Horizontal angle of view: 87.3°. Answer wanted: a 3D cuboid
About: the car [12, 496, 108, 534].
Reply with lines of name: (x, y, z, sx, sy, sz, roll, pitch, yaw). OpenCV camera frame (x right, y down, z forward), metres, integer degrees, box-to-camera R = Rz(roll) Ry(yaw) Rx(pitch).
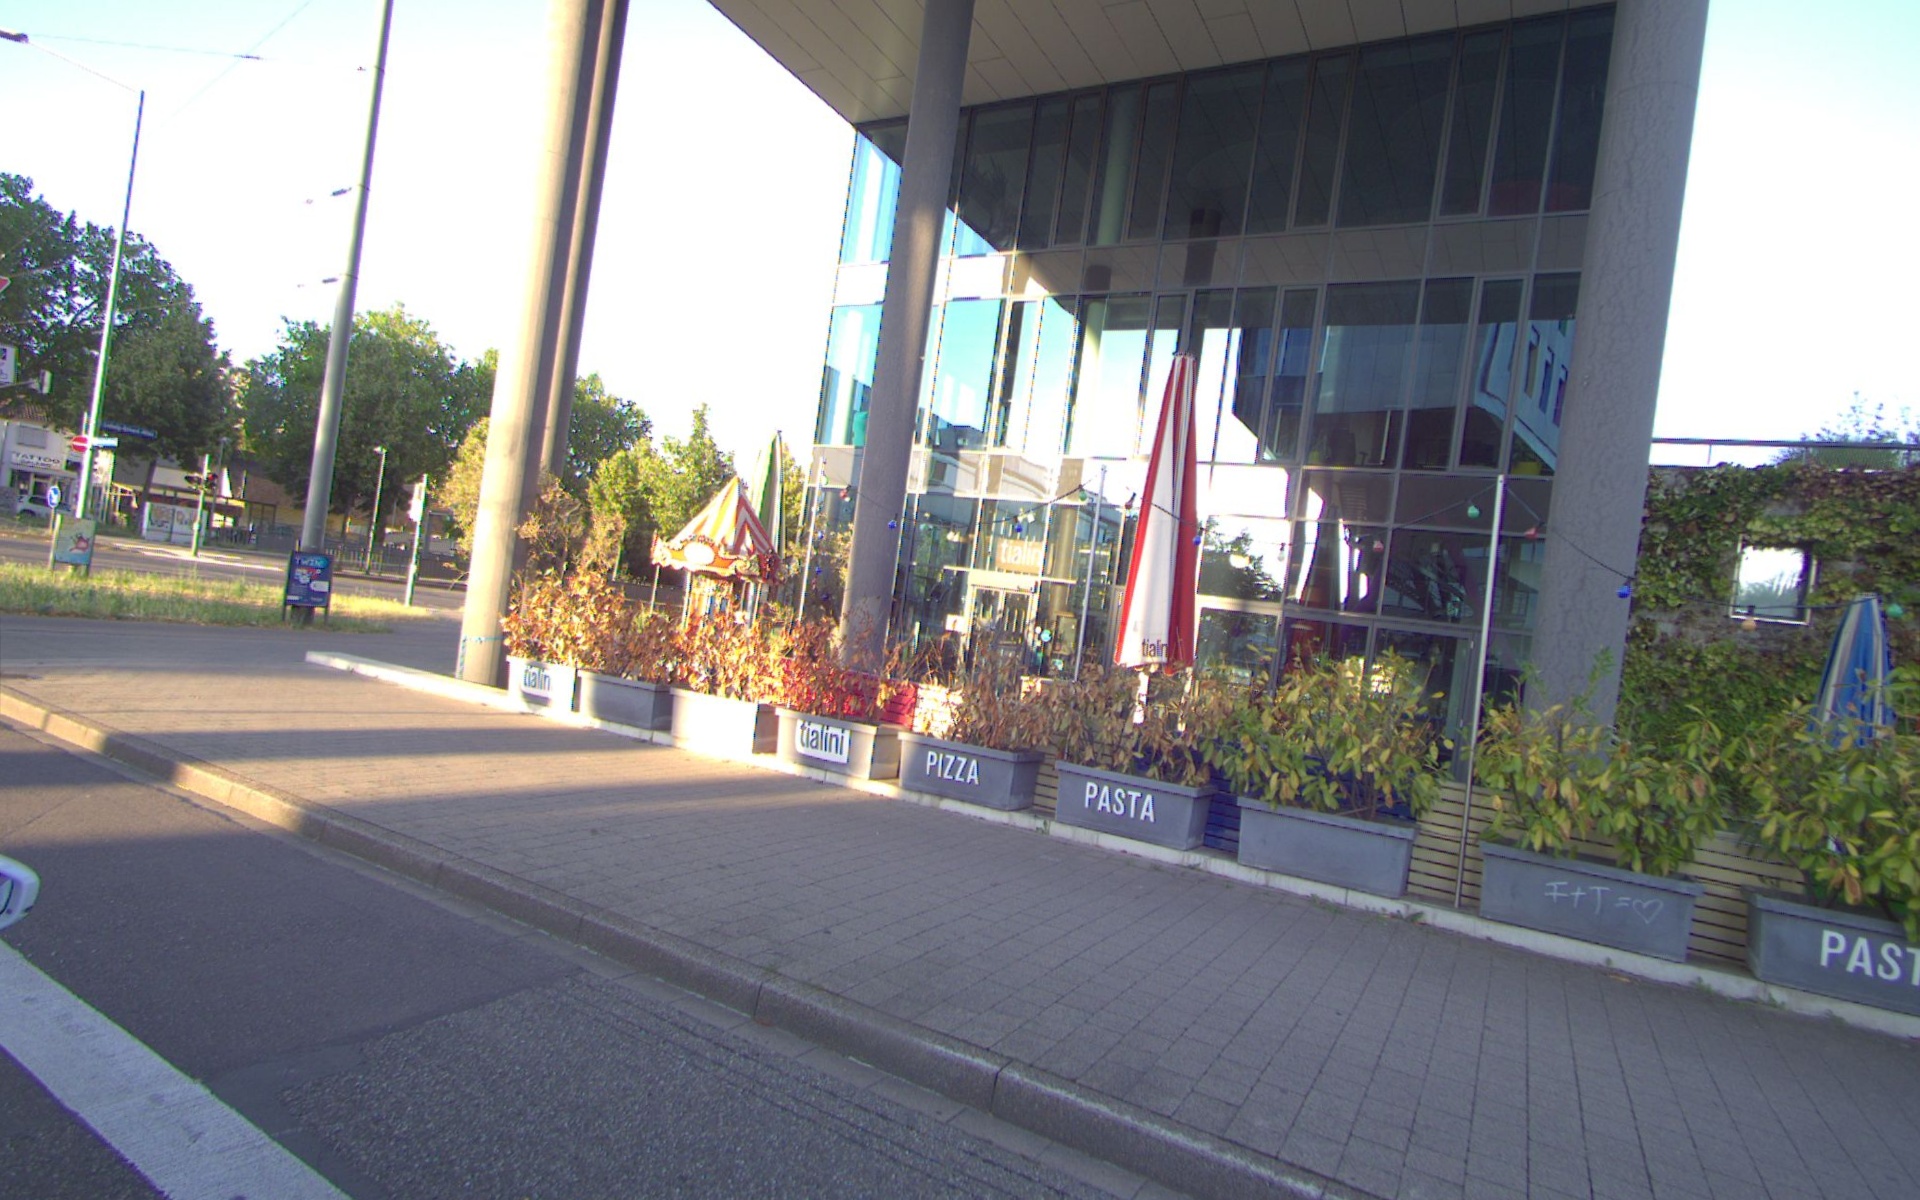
car: (-50.246, -4.751, 56.206, 1.641, 1.456, 3.736, 6, -2, 41)

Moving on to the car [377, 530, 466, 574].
car: (-42.557, -3.746, 79.565, 2.197, 2.581, 5.594, 7, -2, 39)
